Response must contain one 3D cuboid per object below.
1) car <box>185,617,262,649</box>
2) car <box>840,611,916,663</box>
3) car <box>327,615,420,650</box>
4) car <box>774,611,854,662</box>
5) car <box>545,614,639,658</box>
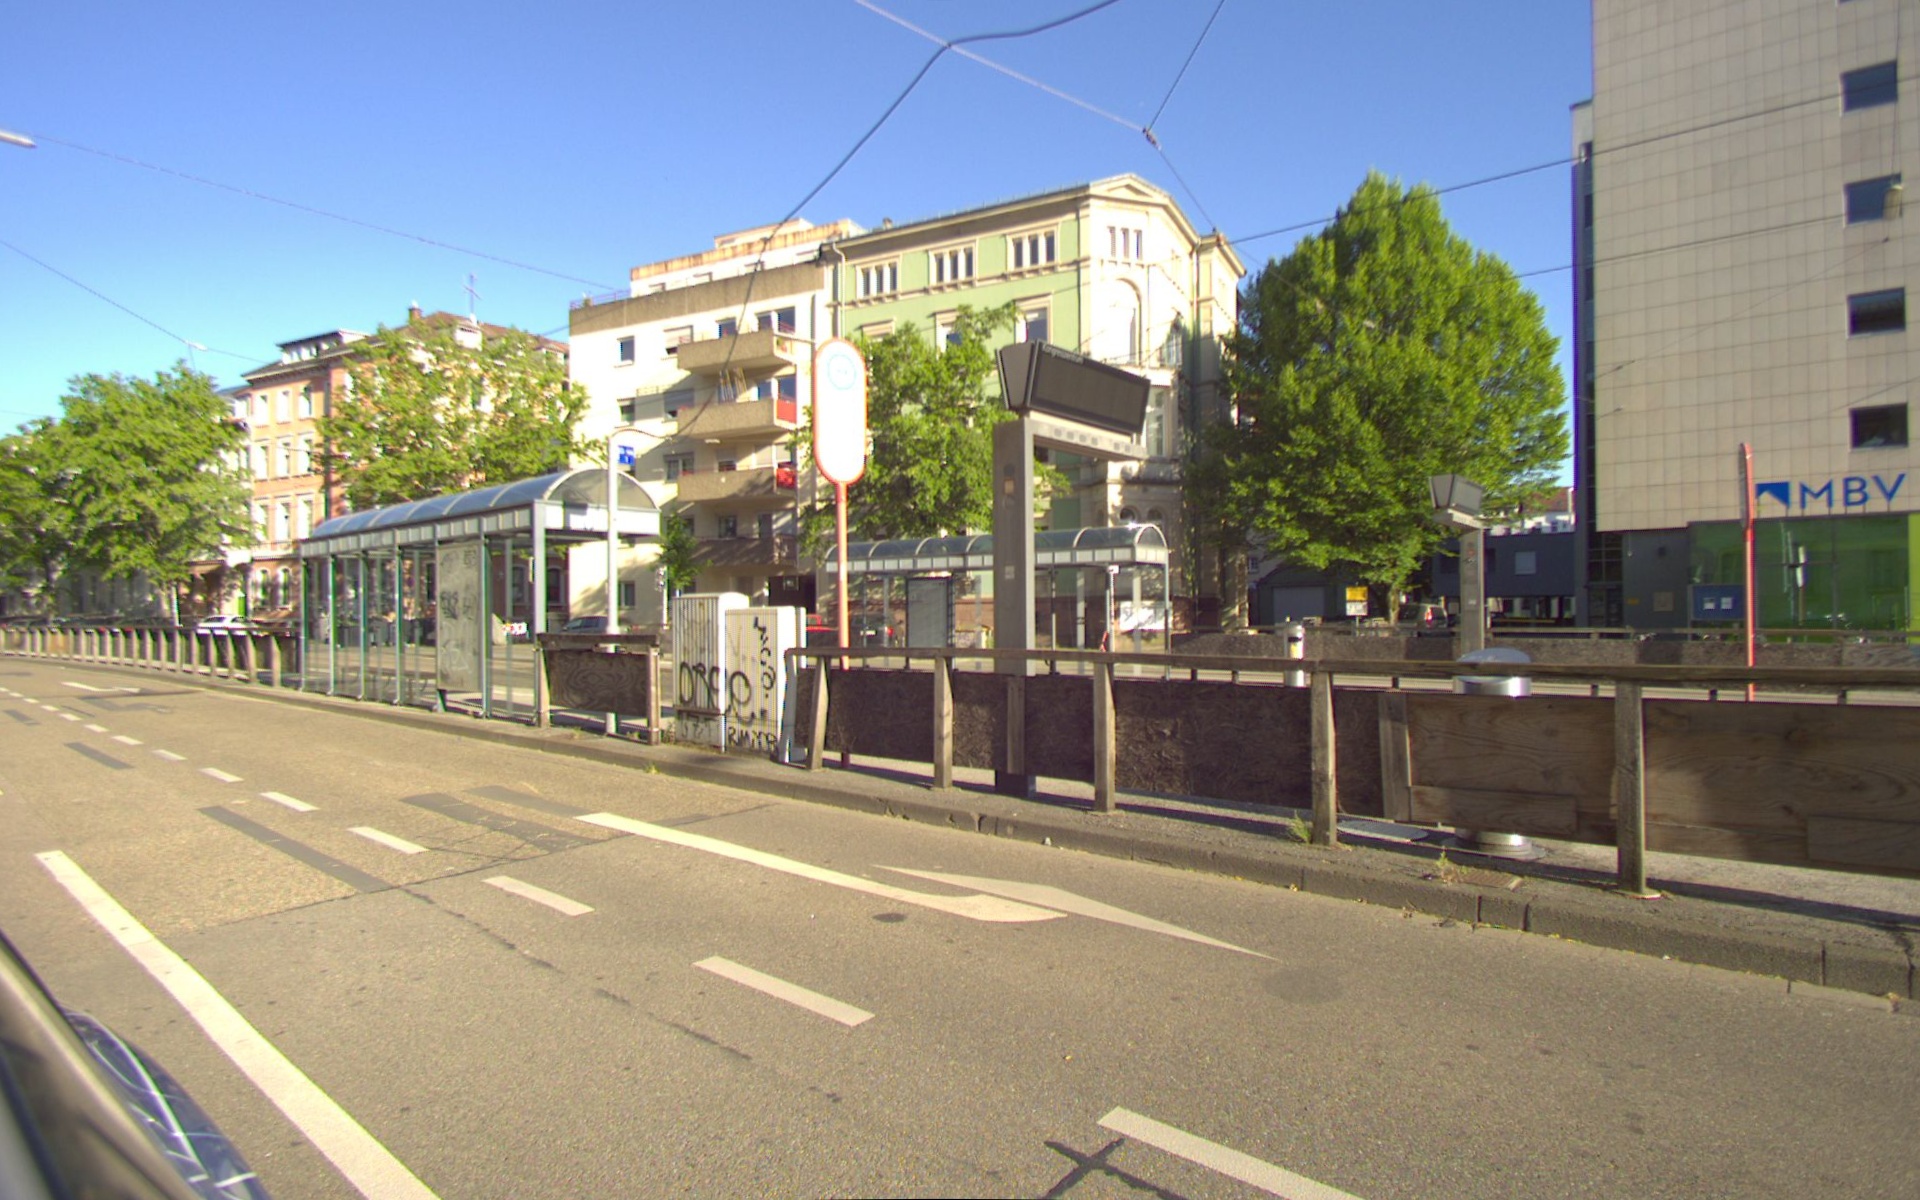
[{"bbox_3d":[-39.397,1.732,54.212,1.607,1.579,3.601,-1,0,-2],"label":"car"},{"bbox_3d":[-2.646,1.181,33.370,1.614,1.579,3.588,-1,0,11],"label":"car"},{"bbox_3d":[-28.397,1.552,49.055,1.626,1.579,3.560,-1,0,33],"label":"car"},{"bbox_3d":[-4.919,1.210,34.566,1.614,1.579,3.588,-1,0,11],"label":"car"},{"bbox_3d":[-14.031,1.328,38.518,3.592,1.579,1.612,-1,0,35],"label":"car"}]
